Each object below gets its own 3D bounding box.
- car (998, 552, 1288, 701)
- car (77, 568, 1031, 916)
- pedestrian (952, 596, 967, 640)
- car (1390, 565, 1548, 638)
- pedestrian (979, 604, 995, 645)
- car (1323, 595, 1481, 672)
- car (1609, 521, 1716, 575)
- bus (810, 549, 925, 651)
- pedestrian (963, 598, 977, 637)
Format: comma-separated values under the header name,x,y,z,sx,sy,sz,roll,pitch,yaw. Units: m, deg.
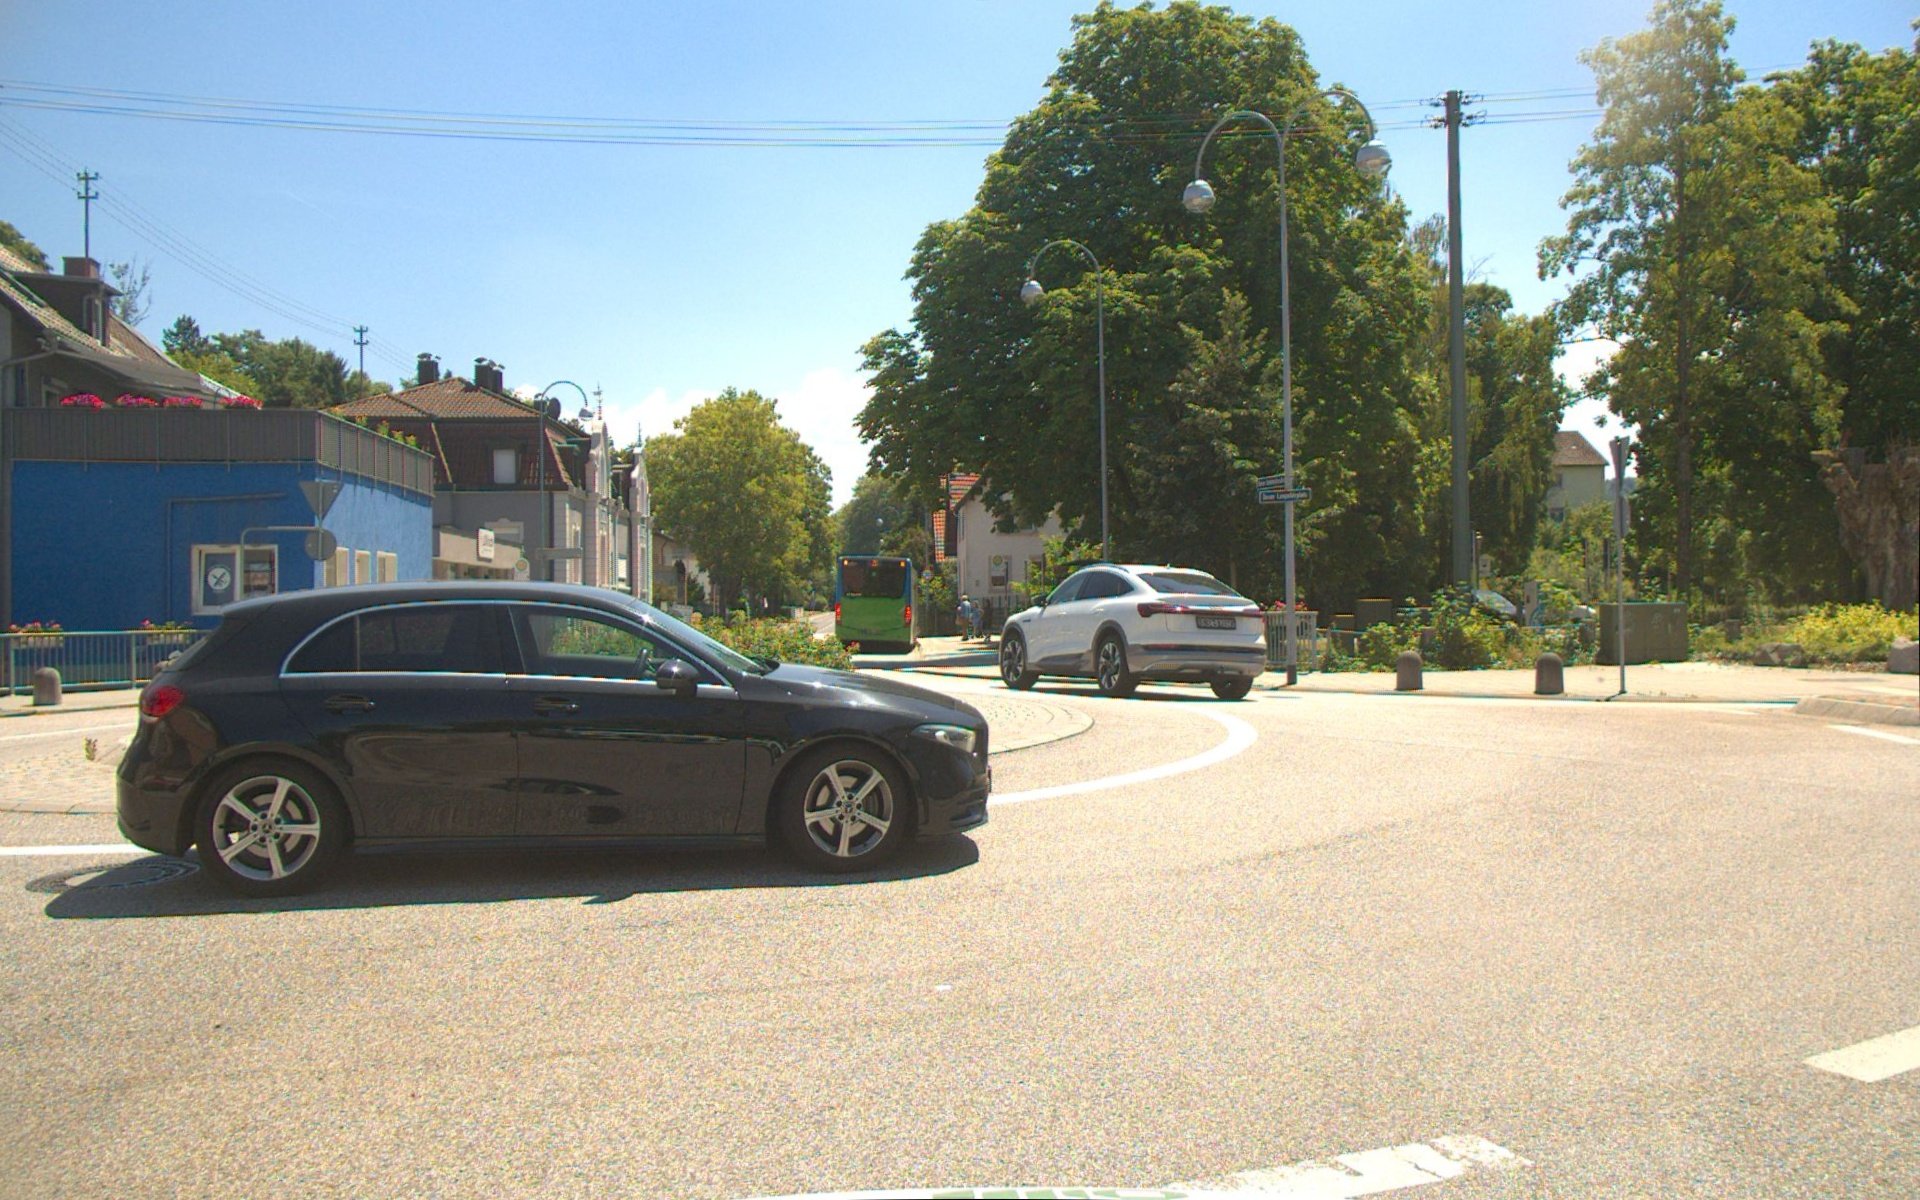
name,x,y,z,sx,sy,sz,roll,pitch,yaw
car,2.226,0.338,21.448,1.872,1.691,4.379,2,-1,-22
car,-1.945,0.608,8.655,4.345,1.482,1.764,-1,1,-11
pedestrian,-0.012,0.708,63.789,0.493,1.679,0.578,-1,0,-8
car,14.787,0.048,48.179,1.984,2.049,3.938,-1,0,-42
pedestrian,1.001,0.896,61.165,0.480,1.479,0.529,-1,0,-8
car,9.873,0.724,36.990,3.000,1.580,1.627,-1,0,-16
car,28.627,-2.094,67.439,3.906,2.049,1.999,-1,0,24
bus,-3.146,0.097,62.080,3.631,3.227,18.063,1,-1,-1
pedestrian,0.397,0.700,66.409,0.479,1.548,0.541,-1,0,-8
